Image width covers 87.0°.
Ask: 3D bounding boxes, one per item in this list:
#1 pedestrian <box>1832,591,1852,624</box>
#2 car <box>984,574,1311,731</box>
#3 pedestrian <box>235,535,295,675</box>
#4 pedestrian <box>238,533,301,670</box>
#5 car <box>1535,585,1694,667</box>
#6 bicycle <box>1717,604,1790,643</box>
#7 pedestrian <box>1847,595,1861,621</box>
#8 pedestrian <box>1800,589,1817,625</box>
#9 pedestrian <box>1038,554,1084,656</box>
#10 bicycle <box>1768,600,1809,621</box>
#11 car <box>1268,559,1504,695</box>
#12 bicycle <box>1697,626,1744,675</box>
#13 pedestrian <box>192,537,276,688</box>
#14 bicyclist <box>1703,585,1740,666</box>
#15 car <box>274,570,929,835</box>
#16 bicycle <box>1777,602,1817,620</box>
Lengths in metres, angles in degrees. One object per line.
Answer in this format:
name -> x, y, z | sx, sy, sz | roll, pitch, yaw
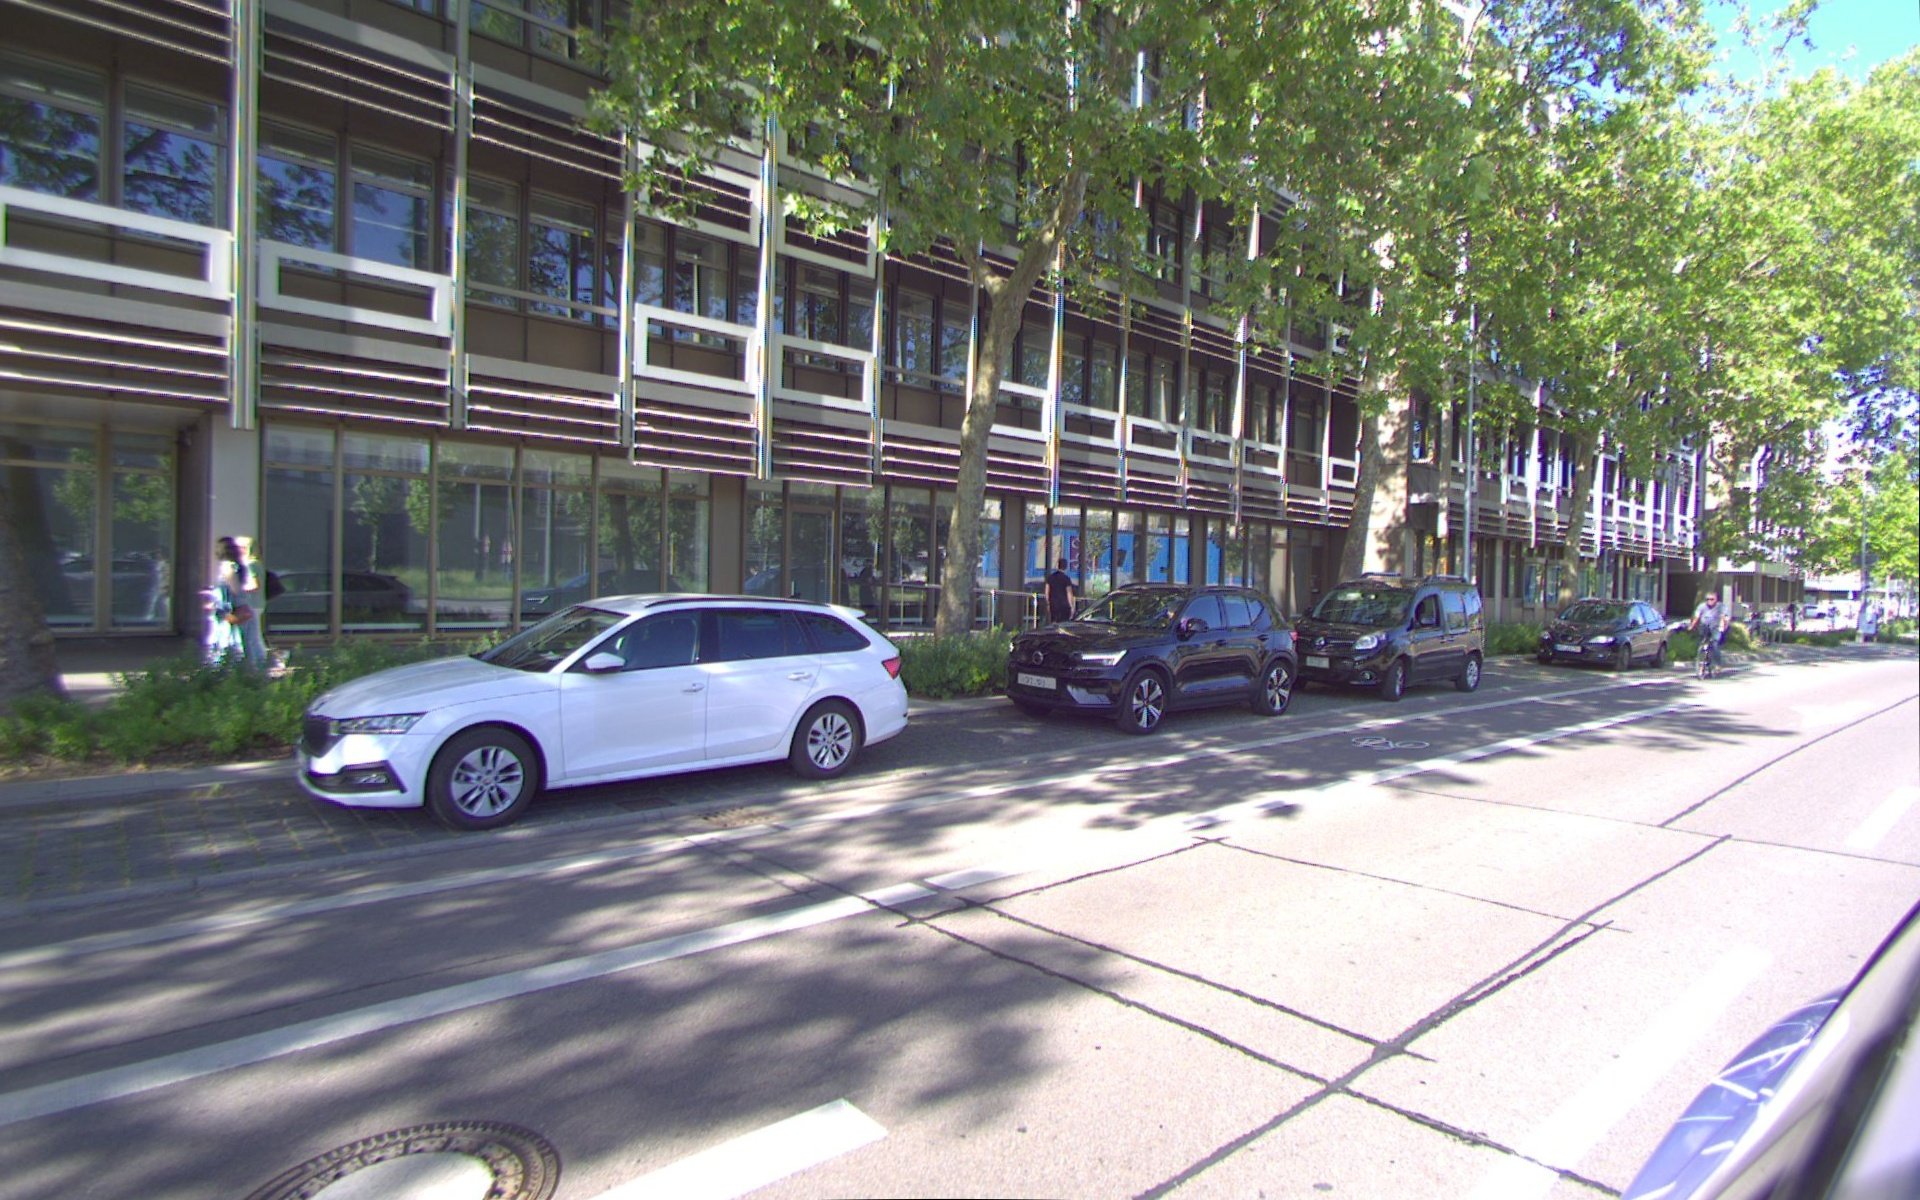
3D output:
pedestrian -> 46.645, 0.389, 53.523 | 0.789, 1.749, 0.648 | 1, 0, -42
car -> 2.386, 0.516, 12.272 | 4.119, 1.583, 1.707 | 0, 1, -41
pedestrian -> -8.173, 0.051, 11.907 | 0.314, 1.604, 0.494 | 1, 0, 40
pedestrian -> -8.460, 0.015, 12.391 | 0.563, 1.623, 0.554 | 1, 0, -41
car -> 15.202, 0.552, 23.415 | 4.552, 1.663, 1.709 | 1, 3, -39
bicycle -> 28.180, 0.813, 35.963 | 0.569, 1.252, 1.939 | 1, 2, -43
pedestrian -> 52.154, 0.489, 59.029 | 0.723, 1.493, 0.511 | 1, 0, -42
pedestrian -> 41.526, 0.327, 49.524 | 0.760, 1.722, 0.511 | 1, 0, -42
pedestrian -> 1.957, 0.098, 19.632 | 0.547, 1.941, 0.678 | 0, -1, -40
bicycle -> 51.735, 0.650, 63.190 | 0.419, 1.111, 1.863 | 1, 3, -39
car -> 6.767, 0.358, 15.882 | 4.118, 1.811, 1.708 | 1, 3, -41
bicycle -> 15.594, 1.020, 20.743 | 0.497, 0.917, 2.161 | -1, -1, 44
pedestrian -> -7.969, 0.125, 11.110 | 0.505, 1.604, 0.626 | 1, 0, 41
bicyclist -> 15.603, 0.505, 20.744 | 0.513, 1.621, 0.528 | 2, 1, 45
car -> -2.538, 0.582, 7.919 | 4.519, 1.511, 1.707 | 1, 1, -41
bicycle -> 52.973, 0.685, 64.035 | 0.419, 1.023, 1.863 | 1, 3, -39
